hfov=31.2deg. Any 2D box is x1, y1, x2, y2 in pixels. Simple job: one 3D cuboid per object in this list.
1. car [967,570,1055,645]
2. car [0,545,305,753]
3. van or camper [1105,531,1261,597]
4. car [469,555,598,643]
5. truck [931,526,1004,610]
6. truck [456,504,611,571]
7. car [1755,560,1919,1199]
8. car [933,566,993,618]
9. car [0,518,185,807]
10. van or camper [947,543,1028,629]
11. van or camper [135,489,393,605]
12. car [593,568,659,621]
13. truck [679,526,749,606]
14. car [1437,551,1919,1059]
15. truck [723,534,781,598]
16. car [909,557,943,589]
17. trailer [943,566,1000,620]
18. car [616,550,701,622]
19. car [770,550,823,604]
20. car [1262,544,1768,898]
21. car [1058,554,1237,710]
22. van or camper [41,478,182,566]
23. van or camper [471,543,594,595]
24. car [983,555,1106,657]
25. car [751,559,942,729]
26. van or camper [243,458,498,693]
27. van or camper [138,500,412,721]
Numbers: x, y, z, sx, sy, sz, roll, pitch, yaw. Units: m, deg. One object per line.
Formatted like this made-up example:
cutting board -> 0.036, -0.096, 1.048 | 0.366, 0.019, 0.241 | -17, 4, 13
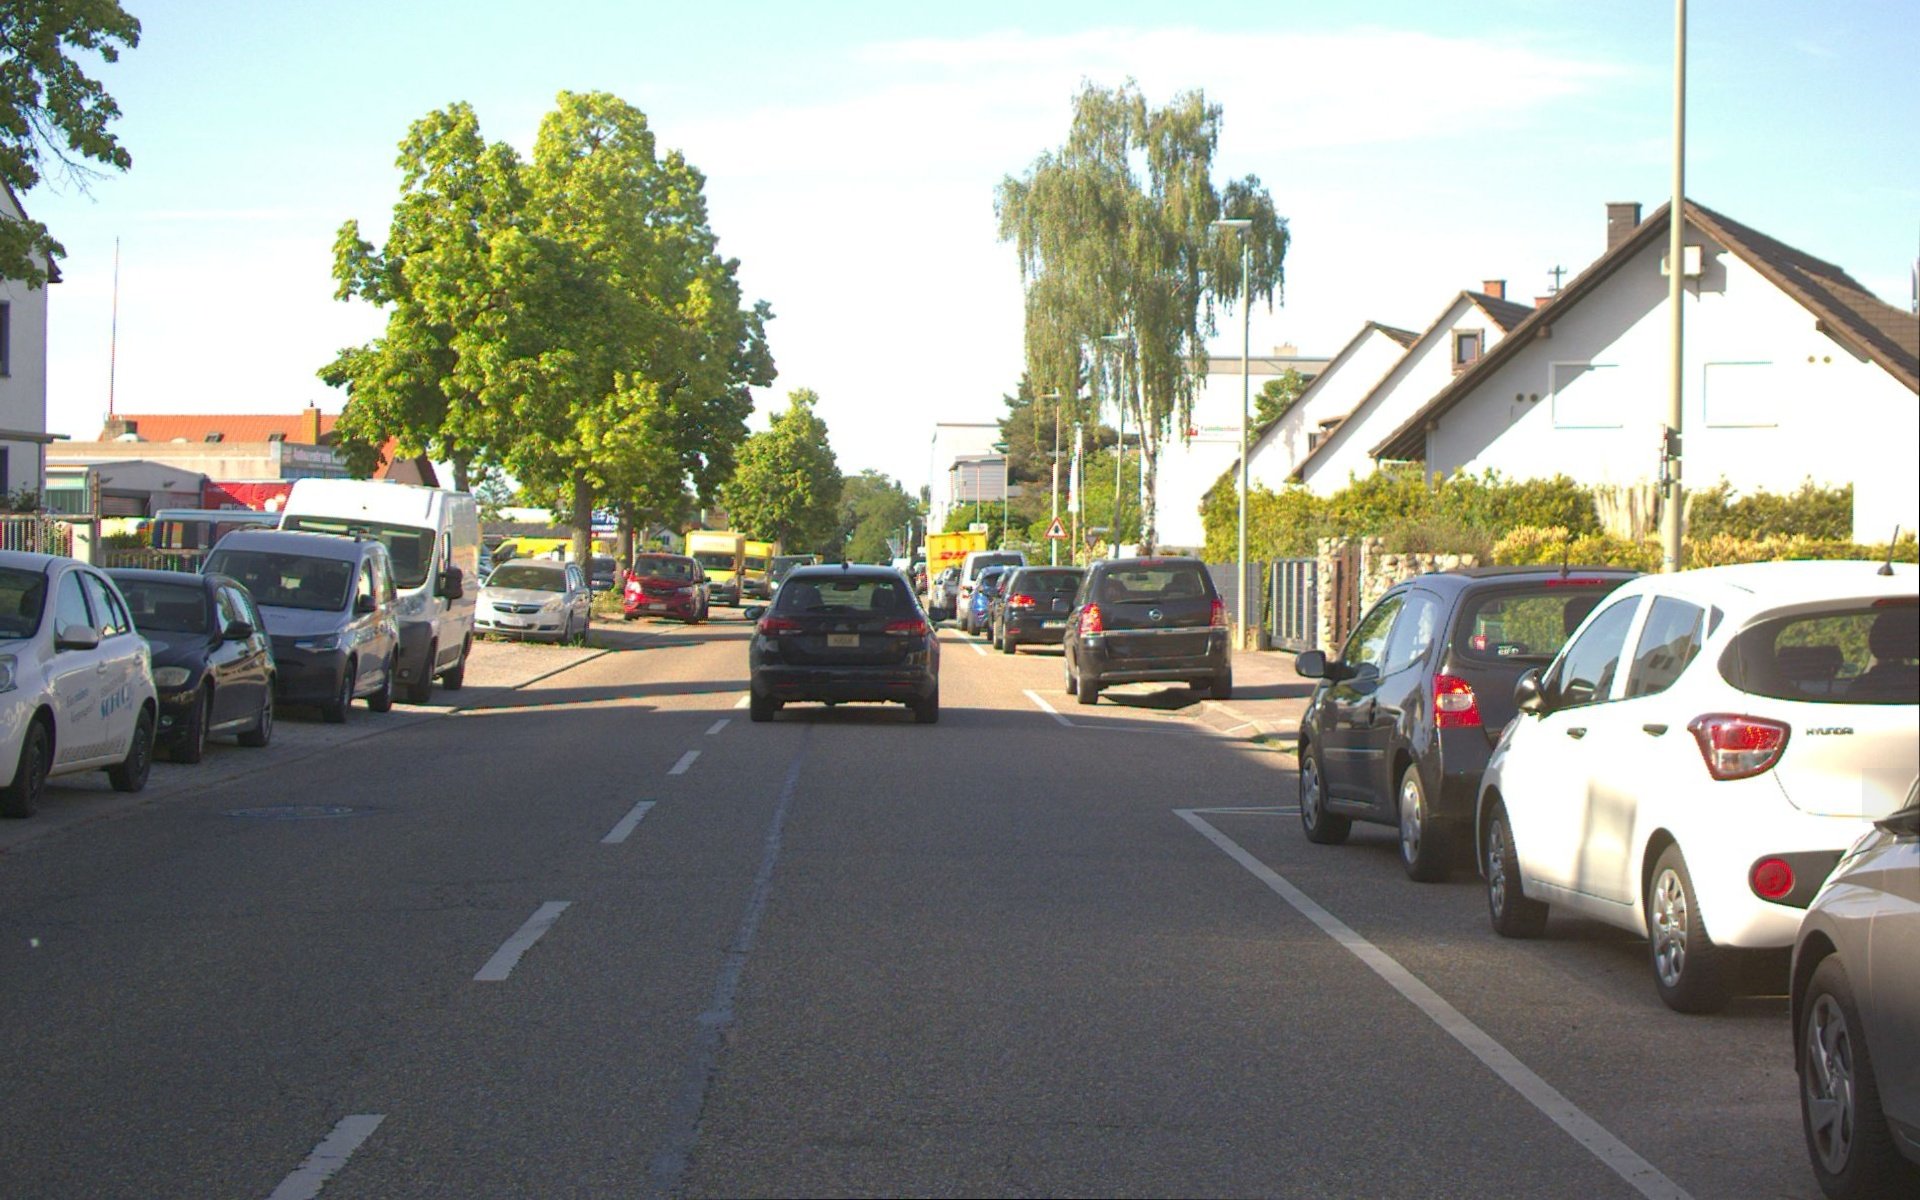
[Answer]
car -> 1.059, 0.139, 72.837 | 1.718, 1.499, 3.563 | 2, 0, -1
car -> -6.385, 0.323, 27.031 | 1.609, 1.430, 4.313 | 3, 1, 0
van or camper -> 8.916, -1.438, 137.414 | 5.812, 2.532, 2.290 | 1, 0, -28
car -> -7.640, -0.047, 61.909 | 1.687, 1.430, 4.209 | 3, 1, 1
truck -> 0.244, -1.161, 125.309 | 2.402, 2.927, 7.016 | -1, 0, -1
truck -> -17.743, -2.599, 143.270 | 5.924, 2.559, 2.223 | 3, 1, 10
car -> 2.843, 0.674, 6.743 | 1.642, 1.489, 3.889 | 1, 1, 0
car -> 0.114, -0.266, 106.070 | 1.674, 1.537, 4.043 | 2, 1, 2
car -> -6.060, 0.285, 20.785 | 1.693, 1.560, 3.907 | 4, 1, 1
van or camper -> 0.605, -0.319, 79.101 | 1.718, 1.884, 4.180 | 2, 0, -1
van or camper -> -14.970, -1.130, 74.084 | 4.895, 2.312, 2.242 | 2, 0, 12
car -> -10.940, -0.158, 112.798 | 1.861, 1.584, 4.276 | 1, -1, -2
truck -> -9.645, -1.321, 135.090 | 2.402, 2.973, 7.246 | 3, 0, -3
car -> 3.079, 0.641, 12.841 | 1.724, 1.595, 3.817 | 2, 1, -5
truck -> -10.047, -1.633, 166.800 | 2.402, 2.973, 6.374 | 3, 0, -1
car -> -2.055, -1.617, 205.423 | 1.919, 1.819, 4.080 | 1, 0, -1
trailer -> 0.330, -0.219, 101.173 | 1.627, 1.533, 3.198 | 1, 0, 0
car -> -7.781, -0.372, 88.983 | 1.803, 1.746, 4.342 | 3, 0, -1
car -> -6.237, -0.888, 131.591 | 1.894, 2.024, 4.818 | -1, 0, -1
car -> 2.731, 0.537, 17.762 | 1.656, 1.595, 3.817 | 2, 1, -5
car -> 2.111, 0.322, 39.637 | 1.776, 1.653, 4.303 | 2, 1, 0
van or camper -> -27.658, -2.518, 112.291 | 2.165, 2.706, 6.267 | 1, 0, 9
van or camper -> -17.365, -1.247, 139.710 | 4.544, 2.007, 2.250 | 1, 0, 5
car -> 1.417, 0.075, 58.958 | 1.775, 1.653, 3.817 | 2, 1, -3
car -> -1.039, 0.377, 33.011 | 1.711, 1.527, 3.687 | 1, 1, 0
van or camper -> -6.839, -0.302, 40.481 | 2.122, 2.481, 5.556 | 3, 1, -2
van or camper -> -6.727, 0.073, 34.191 | 1.878, 2.007, 4.279 | 2, 1, -1
